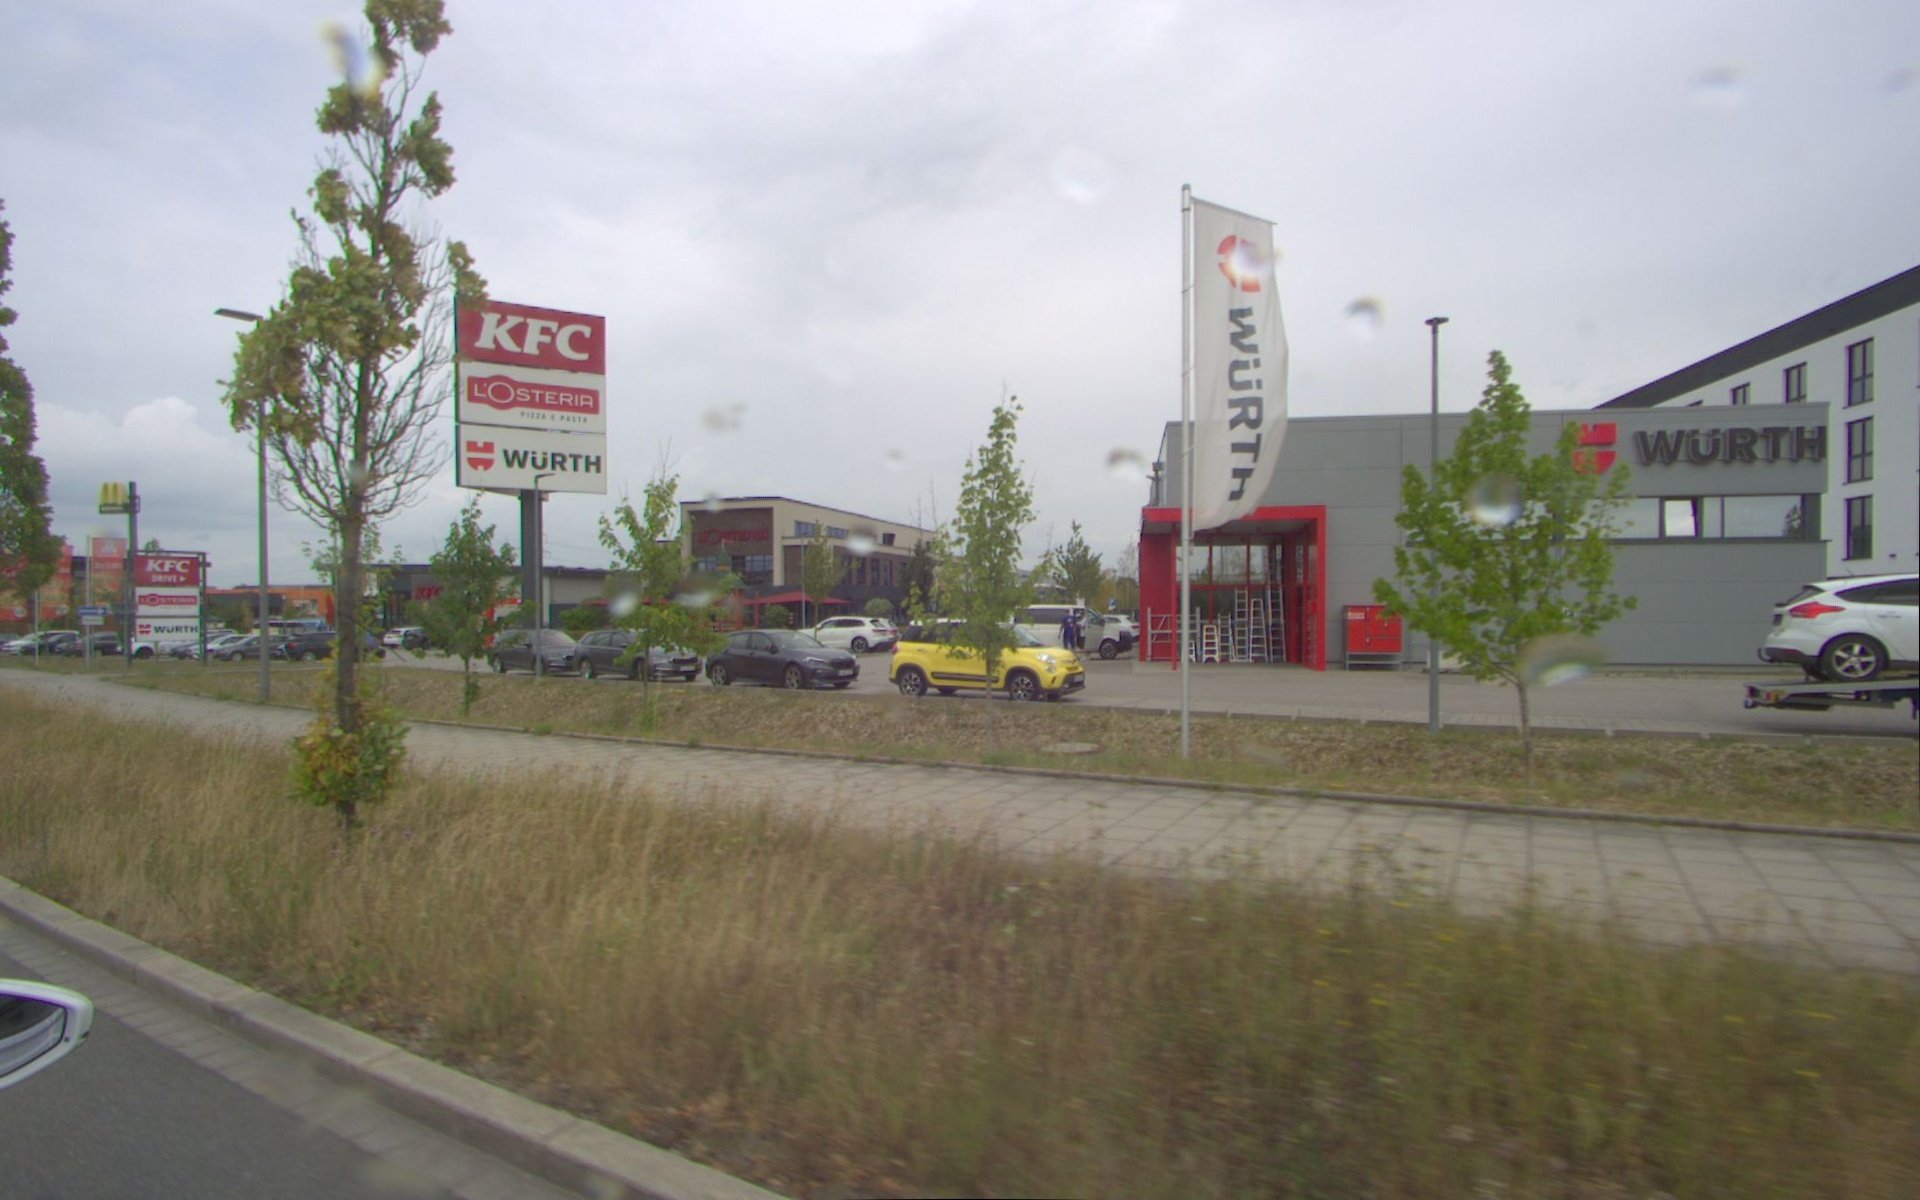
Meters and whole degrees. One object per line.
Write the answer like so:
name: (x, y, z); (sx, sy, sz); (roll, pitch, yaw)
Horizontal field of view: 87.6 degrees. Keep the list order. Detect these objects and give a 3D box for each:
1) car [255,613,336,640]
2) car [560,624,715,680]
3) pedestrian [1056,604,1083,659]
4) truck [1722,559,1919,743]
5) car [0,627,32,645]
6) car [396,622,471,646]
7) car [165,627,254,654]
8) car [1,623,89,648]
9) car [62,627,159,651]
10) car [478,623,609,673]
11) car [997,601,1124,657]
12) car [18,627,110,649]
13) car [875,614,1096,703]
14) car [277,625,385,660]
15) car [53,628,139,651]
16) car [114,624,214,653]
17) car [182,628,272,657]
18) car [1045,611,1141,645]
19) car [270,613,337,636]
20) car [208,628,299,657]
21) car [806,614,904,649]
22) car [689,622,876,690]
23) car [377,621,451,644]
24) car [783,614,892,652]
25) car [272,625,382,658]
car: (-59.999, 2.330, 90.600); (2.493, 2.382, 5.675); (0, -1, 24)
car: (-9.348, 1.439, 28.825); (4.818, 1.456, 1.857); (-1, -1, 38)
pedestrian: (3.827, 1.095, 35.024); (0.788, 1.893, 0.613); (0, 0, -19)
truck: (14.769, 0.639, 12.566); (8.098, 2.356, 2.222); (-1, 0, 33)
car: (-74.758, 2.856, 78.785); (1.792, 1.330, 3.827); (0, -1, -32)
car: (-36.872, 2.341, 70.304); (1.943, 1.539, 4.567); (-1, 0, 19)
car: (-46.291, 2.499, 61.803); (1.914, 1.504, 3.976); (-2, -1, 34)
car: (-65.919, 2.533, 72.215); (1.904, 1.661, 4.353); (0, -1, 20)
car: (-56.945, 2.610, 67.209); (1.999, 1.488, 4.517); (0, -1, 25)
car: (-13.557, 1.494, 32.500); (4.774, 1.479, 1.953); (-1, -1, 40)
car: (3.745, 1.057, 36.958); (4.547, 2.013, 2.000); (0, -1, 9)
car: (-63.650, 2.690, 71.211); (2.039, 1.455, 4.471); (0, -1, 22)
car: (0.503, 1.154, 20.977); (4.344, 1.708, 1.761); (-1, 0, 29)
car: (-29.792, 1.982, 47.483); (1.960, 1.513, 3.966); (-1, -1, 42)
car: (-59.364, 2.670, 68.878); (1.911, 1.457, 4.085); (0, 0, 24)
car: (-50.788, 2.418, 63.999); (2.057, 1.667, 4.554); (-1, 0, 30)
car: (-42.729, 2.431, 58.461); (1.877, 1.501, 3.849); (-1, 0, 36)
car: (6.511, 1.372, 48.755); (4.490, 1.539, 2.079); (-1, 0, 13)
car: (-74.329, 2.750, 113.527); (5.947, 2.562, 2.275); (0, 0, -22)
car: (-39.059, 2.301, 55.435); (1.866, 1.513, 3.745); (-1, -1, 37)
car: (-5.173, 1.553, 49.617); (4.451, 1.700, 2.133); (0, -1, 8)
car: (-4.481, 1.364, 24.952); (4.548, 1.516, 1.987); (-2, -1, 36)
car: (-40.434, 2.385, 74.284); (2.045, 1.539, 4.565); (-1, 0, 21)
car: (-5.717, 1.531, 46.965); (4.702, 1.719, 1.999); (0, -1, 12)
car: (-31.326, 2.023, 49.635); (1.942, 1.539, 4.244); (-1, -1, 40)
